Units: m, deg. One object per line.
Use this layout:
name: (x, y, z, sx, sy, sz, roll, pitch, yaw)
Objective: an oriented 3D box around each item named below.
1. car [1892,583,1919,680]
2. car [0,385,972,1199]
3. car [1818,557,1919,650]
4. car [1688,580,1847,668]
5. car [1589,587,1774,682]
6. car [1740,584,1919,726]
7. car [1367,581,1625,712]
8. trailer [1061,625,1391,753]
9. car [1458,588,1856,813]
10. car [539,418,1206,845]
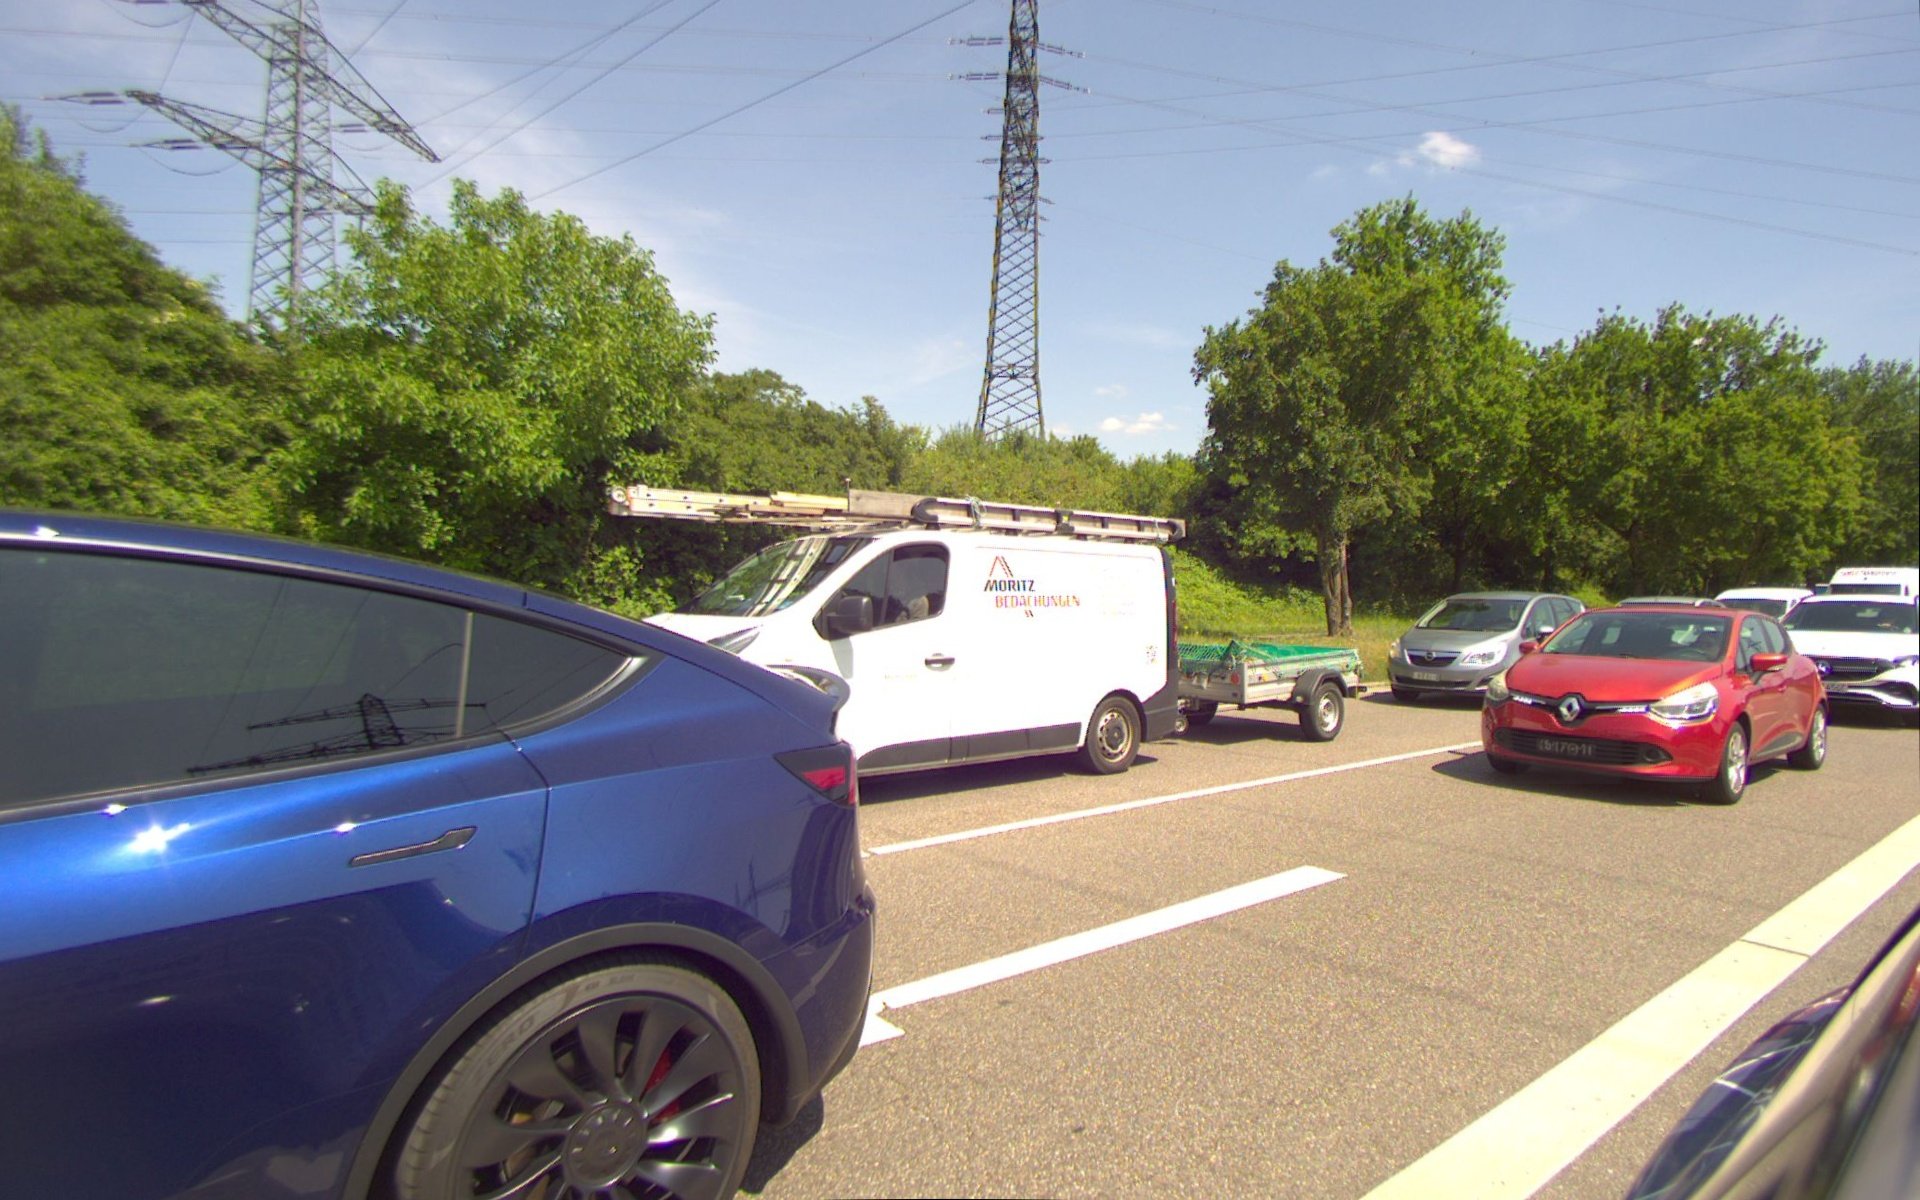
car: (18.807, 0.560, 18.567, 3.928, 1.703, 2.021, 0, 0, -40)
car: (-2.291, 0.522, 1.832, 4.438, 1.665, 1.905, 0, 0, -39)
car: (29.082, 0.100, 31.599, 6.891, 2.640, 2.232, 0, 0, -39)
car: (18.609, 0.492, 23.234, 4.946, 1.823, 1.809, 0, 0, -39)
car: (13.760, 0.592, 19.212, 4.194, 1.614, 1.747, 0, 0, -38)
car: (12.009, 0.621, 13.247, 4.283, 1.588, 1.850, 0, 0, -38)
car: (7.829, 0.581, 14.648, 4.088, 1.615, 1.770, 0, 1, -38)
trailer: (2.822, 0.817, 10.529, 3.263, 1.019, 1.710, 0, 1, -38)
car: (6.064, 0.664, 8.637, 3.991, 1.480, 1.747, 0, 0, -39)
car: (-0.427, 0.167, 7.946, 4.983, 2.379, 1.937, 0, 0, -38)
